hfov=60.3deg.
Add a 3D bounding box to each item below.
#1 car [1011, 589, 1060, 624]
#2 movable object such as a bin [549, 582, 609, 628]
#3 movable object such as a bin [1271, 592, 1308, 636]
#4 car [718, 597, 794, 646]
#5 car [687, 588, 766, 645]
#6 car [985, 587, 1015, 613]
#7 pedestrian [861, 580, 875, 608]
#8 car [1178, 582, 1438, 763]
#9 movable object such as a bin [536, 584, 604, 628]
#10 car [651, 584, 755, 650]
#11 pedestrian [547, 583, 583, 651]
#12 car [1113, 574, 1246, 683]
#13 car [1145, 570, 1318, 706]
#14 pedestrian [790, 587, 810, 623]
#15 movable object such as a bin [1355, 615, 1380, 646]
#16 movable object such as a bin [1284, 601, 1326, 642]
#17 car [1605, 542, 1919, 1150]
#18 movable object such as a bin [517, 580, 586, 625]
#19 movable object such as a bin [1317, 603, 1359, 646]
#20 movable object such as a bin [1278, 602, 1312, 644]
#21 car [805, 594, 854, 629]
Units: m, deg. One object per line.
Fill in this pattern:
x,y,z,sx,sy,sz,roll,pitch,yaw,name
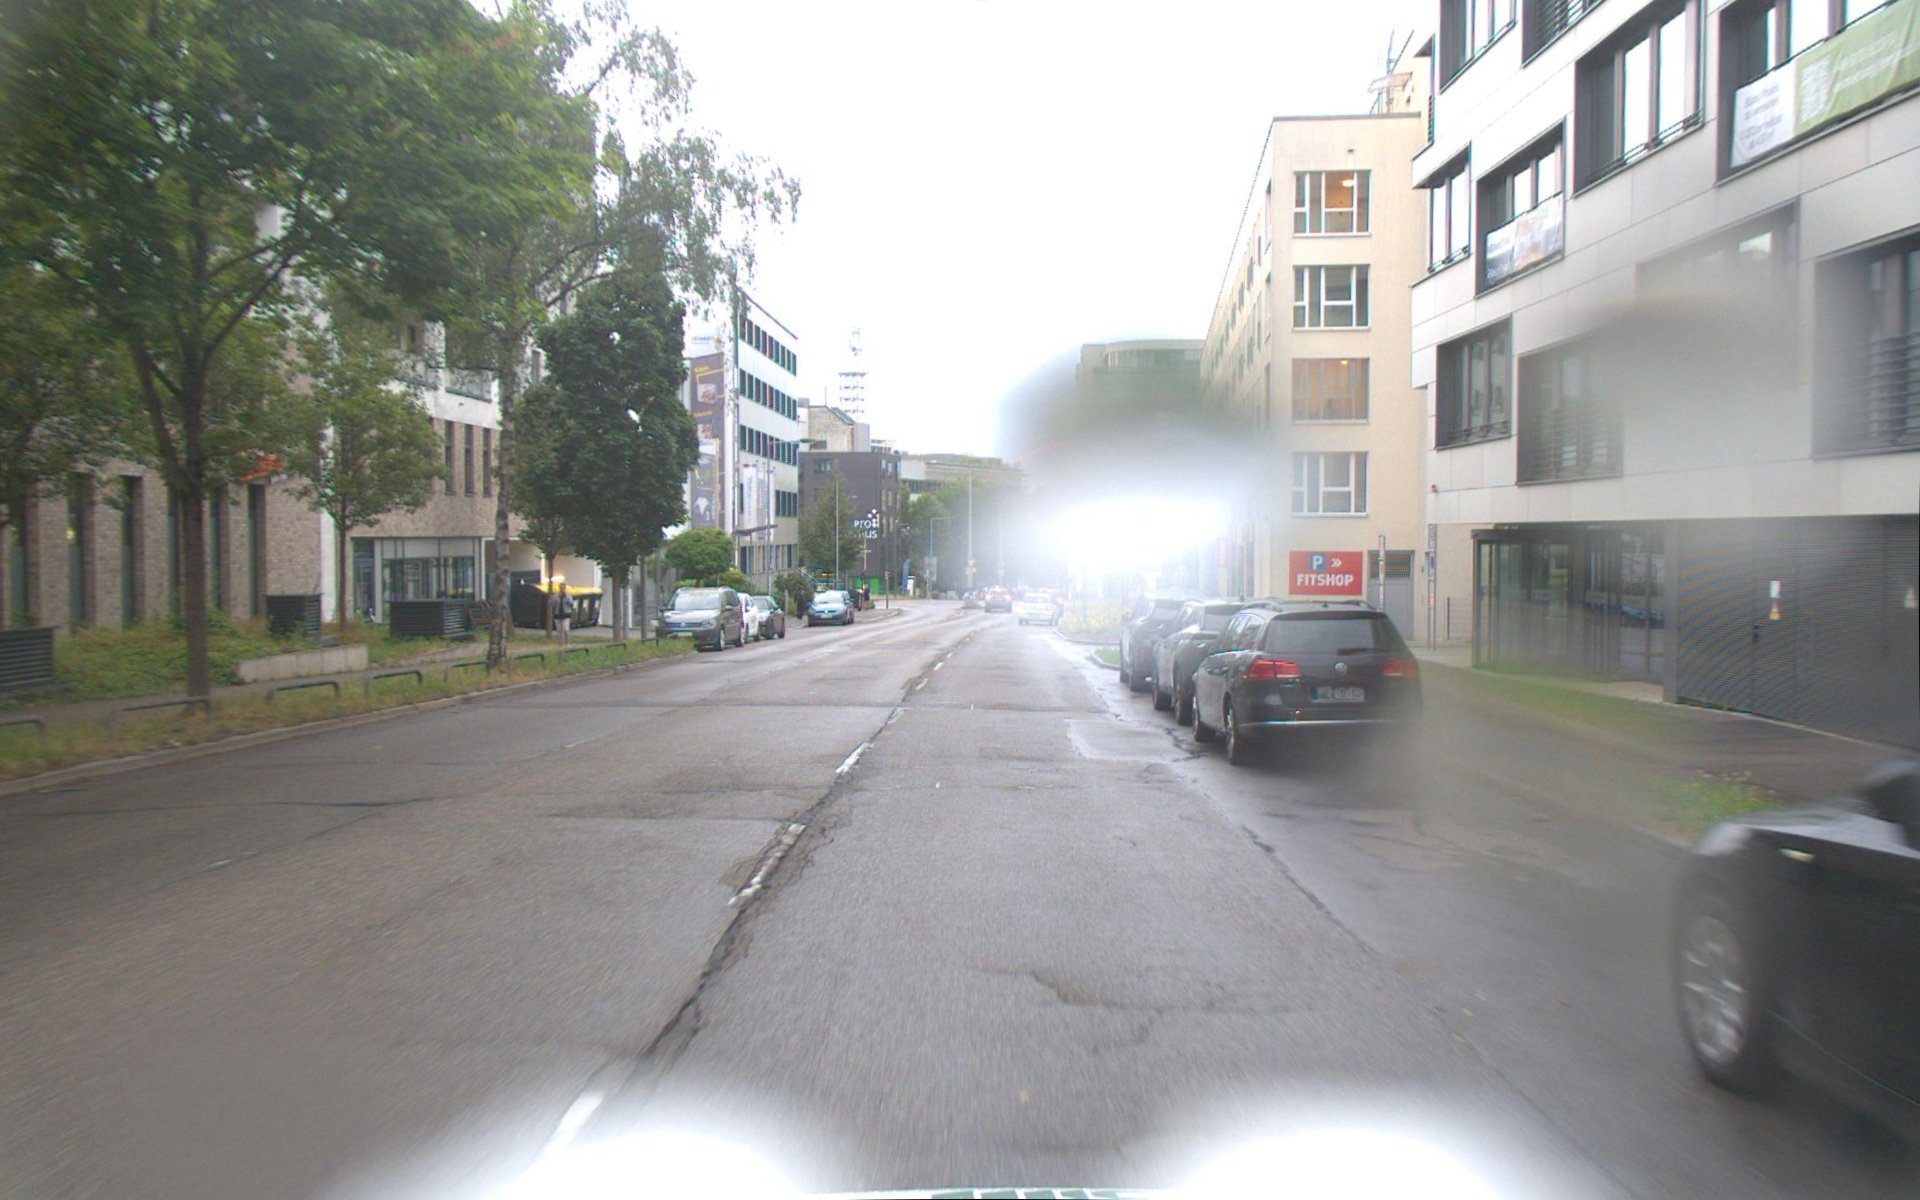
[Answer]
3.617,0.297,78.861,1.951,1.604,3.999,0,0,8,car
-13.489,0.185,58.651,1.759,1.536,1.481,-2,-1,-2,movable object such as a bin
11.513,0.491,57.838,1.149,1.529,1.014,0,-1,4,movable object such as a bin
-6.707,0.726,54.886,1.759,1.543,4.247,0,-1,3,car
-7.038,0.483,50.164,1.736,1.628,4.032,0,0,1,car
2.794,0.008,115.530,2.097,1.758,4.000,0,-1,1,car
-6.544,-0.443,117.735,0.942,1.990,0.777,0,-1,-10,pedestrian
3.383,0.678,17.008,1.770,1.591,4.847,0,-1,1,car
-13.462,0.207,57.129,2.012,1.448,1.316,1,-1,-2,movable object such as a bin
-6.906,0.437,44.908,2.035,1.637,4.685,-1,0,0,car
-10.018,0.423,41.974,0.694,1.712,0.956,0,0,-2,pedestrian
3.684,0.428,28.453,1.770,1.708,4.713,0,0,1,car
3.534,0.497,22.247,1.712,1.633,4.374,0,-1,1,car
-7.923,0.263,82.018,0.719,1.738,0.896,0,-2,-25,pedestrian
13.906,1.053,56.457,0.684,1.045,0.853,0,-1,4,movable object such as a bin
11.597,0.742,55.662,1.209,1.343,1.192,-1,-1,4,movable object such as a bin
3.267,0.611,3.980,1.770,1.510,4.495,0,-1,1,car
-13.767,0.094,55.799,1.986,1.455,1.289,2,-1,-2,movable object such as a bin
12.897,0.834,56.522,1.234,1.427,1.113,0,-1,4,movable object such as a bin
11.497,0.788,56.762,1.000,1.427,1.058,0,-1,4,movable object such as a bin
-5.842,0.537,74.471,1.875,1.507,4.355,0,-1,-1,car
